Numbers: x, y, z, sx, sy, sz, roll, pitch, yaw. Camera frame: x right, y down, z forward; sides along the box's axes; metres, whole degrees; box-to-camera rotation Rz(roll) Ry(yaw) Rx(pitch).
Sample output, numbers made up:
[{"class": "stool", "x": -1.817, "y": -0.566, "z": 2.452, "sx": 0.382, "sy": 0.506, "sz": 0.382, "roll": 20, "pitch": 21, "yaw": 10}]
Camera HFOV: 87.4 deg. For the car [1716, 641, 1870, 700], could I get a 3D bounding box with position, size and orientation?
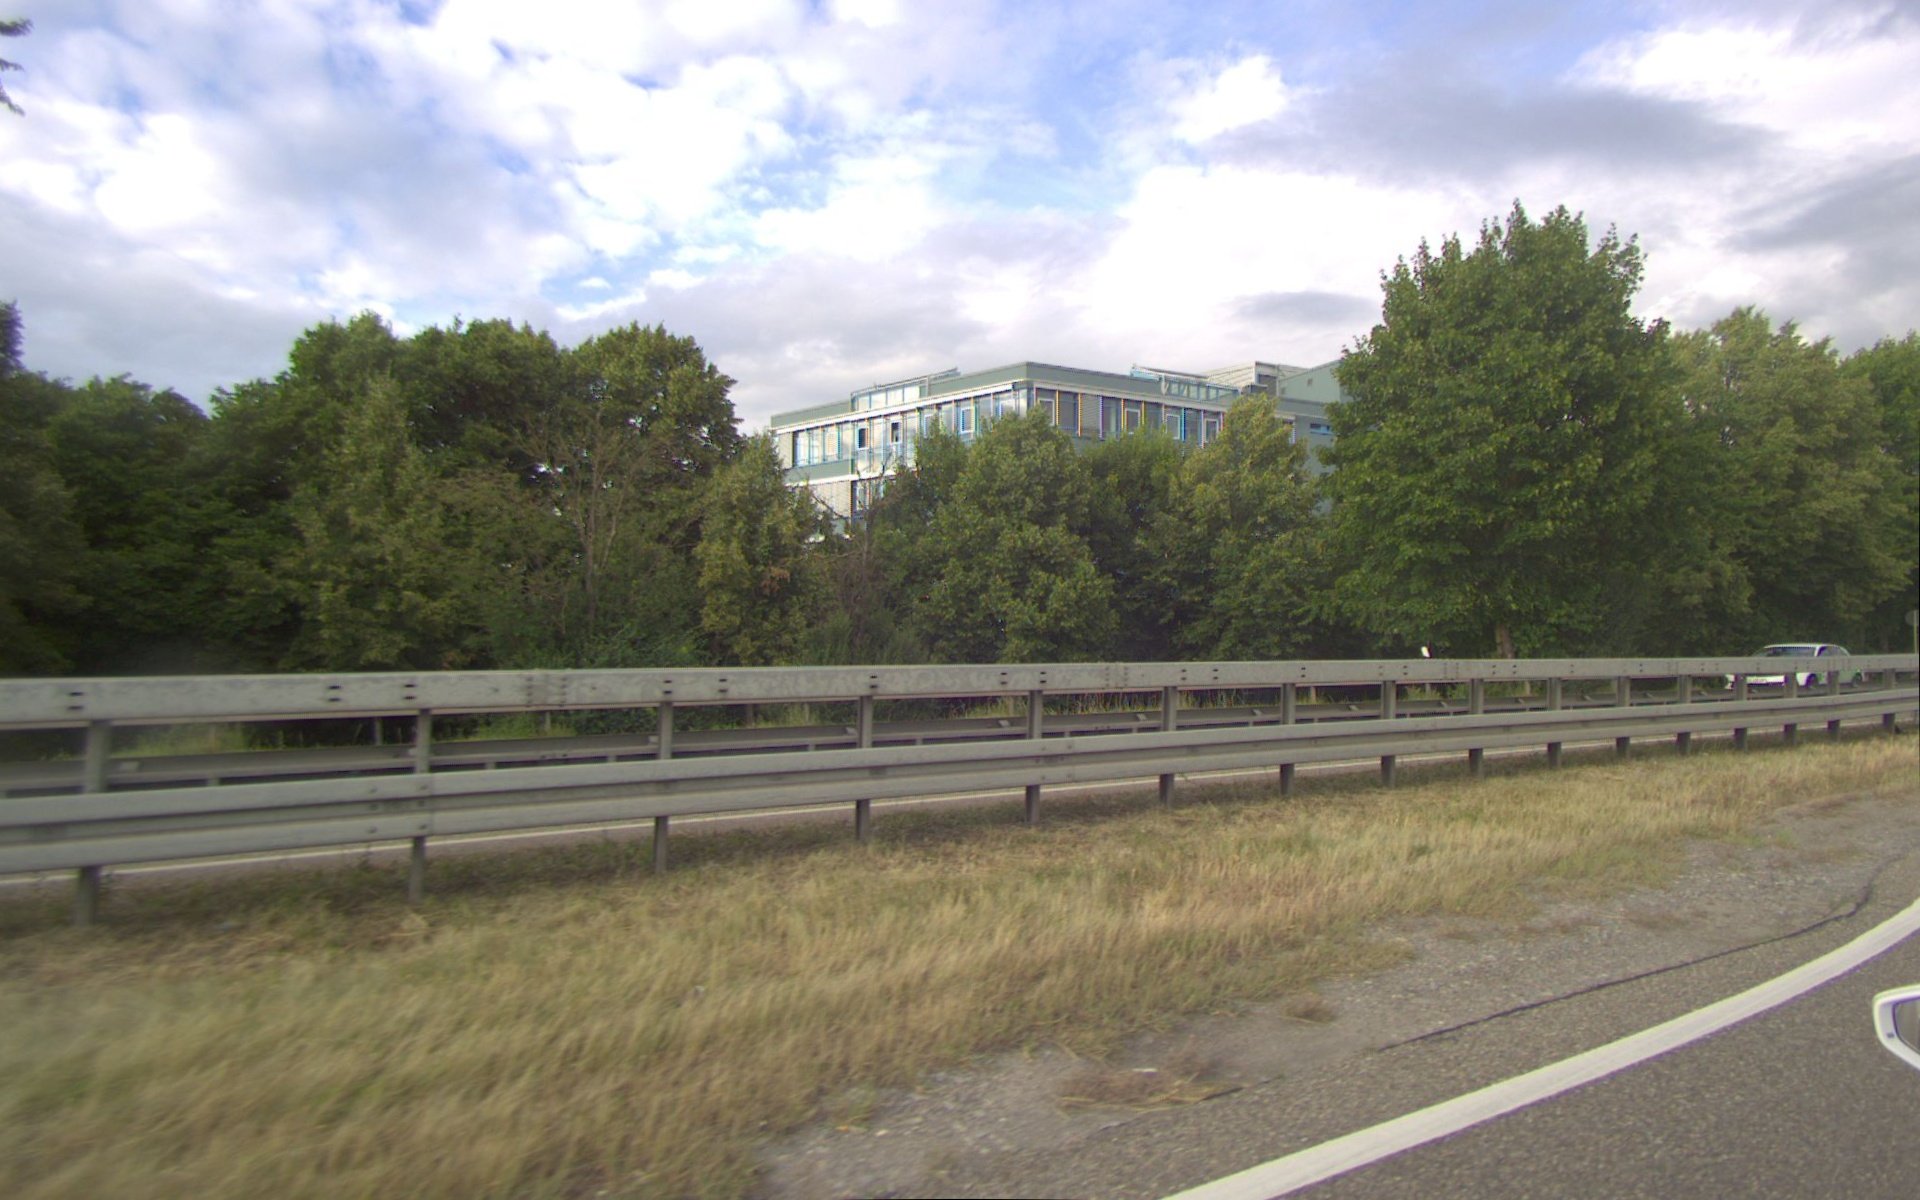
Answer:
[{"class": "car", "x": 22.438, "y": 1.840, "z": 27.018, "sx": 4.405, "sy": 1.432, "sz": 1.751, "roll": 1, "pitch": -1, "yaw": -30}]
